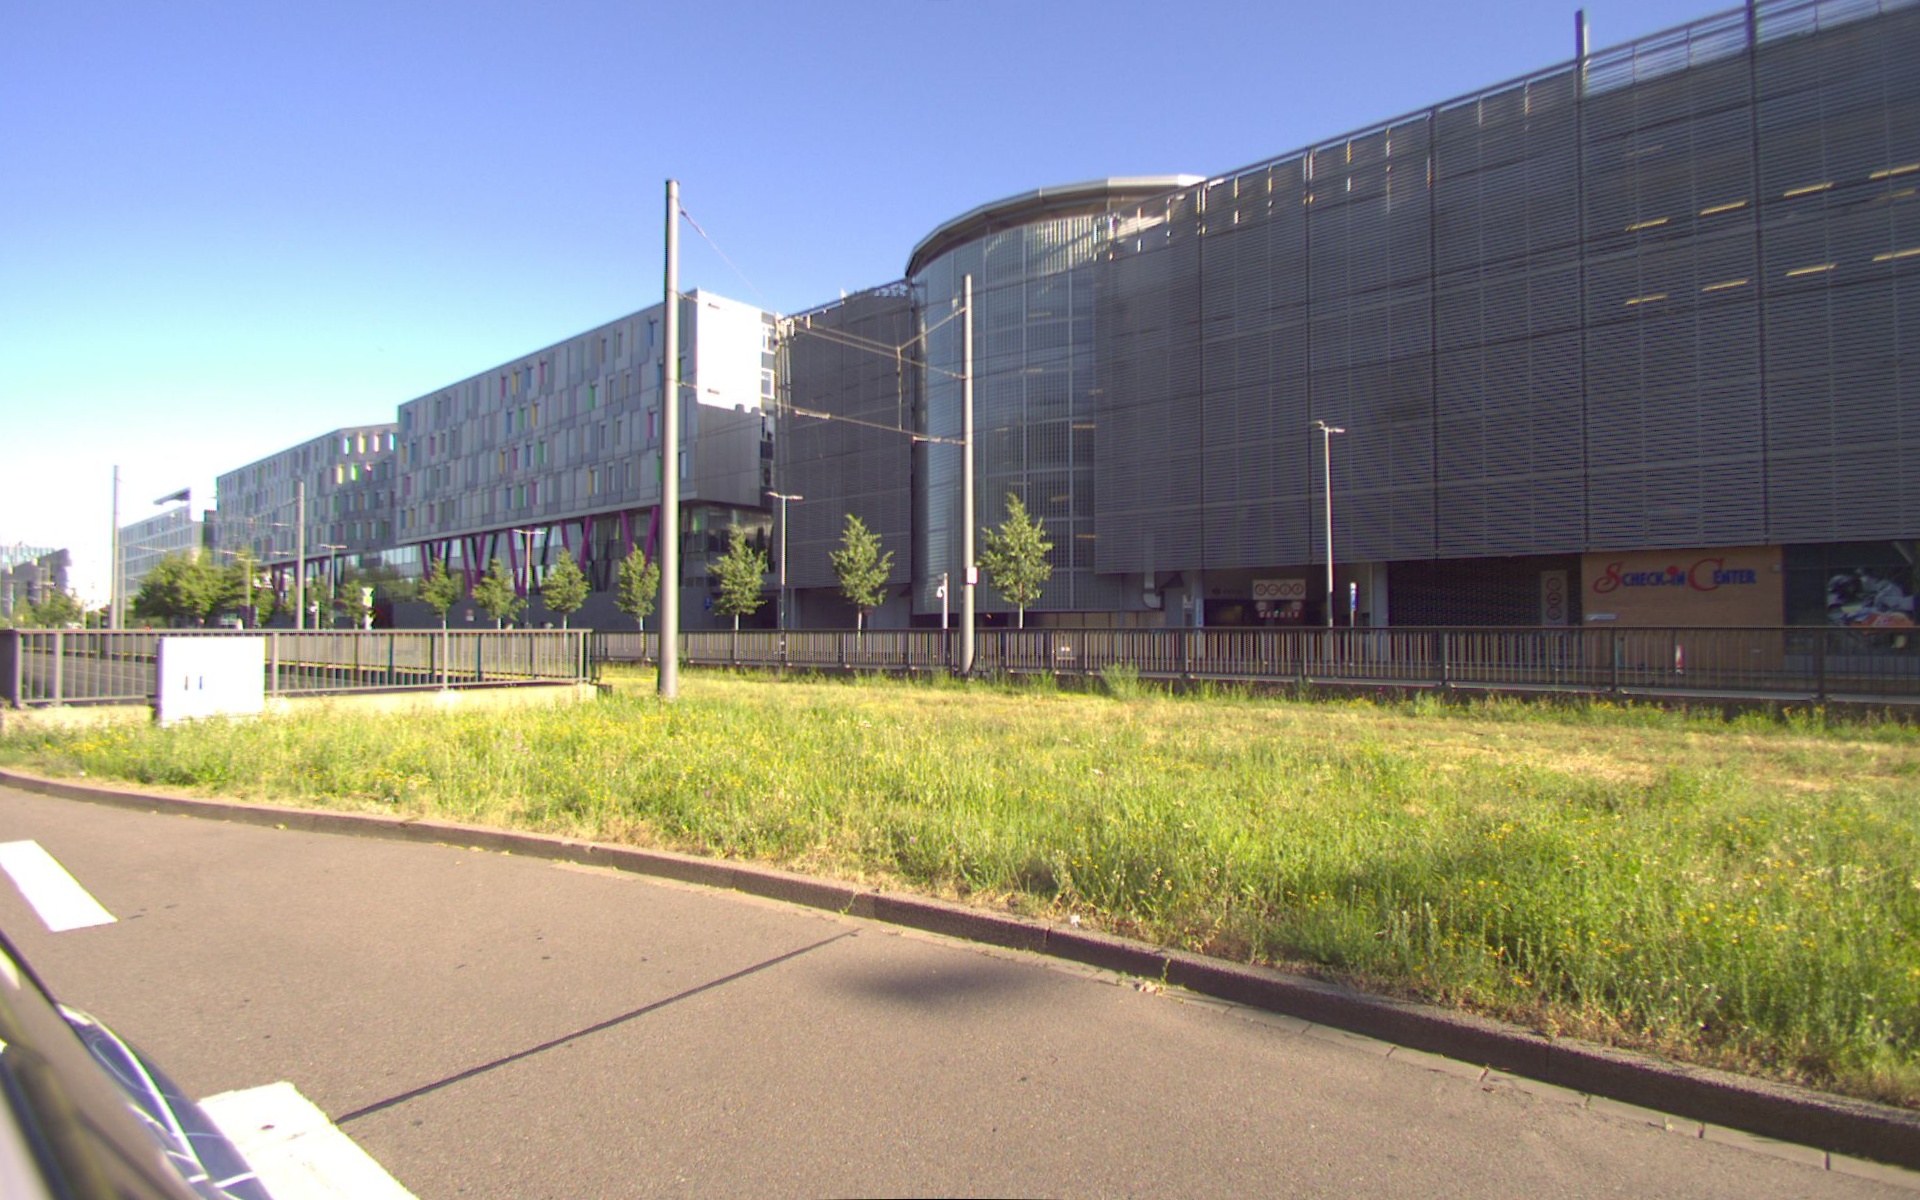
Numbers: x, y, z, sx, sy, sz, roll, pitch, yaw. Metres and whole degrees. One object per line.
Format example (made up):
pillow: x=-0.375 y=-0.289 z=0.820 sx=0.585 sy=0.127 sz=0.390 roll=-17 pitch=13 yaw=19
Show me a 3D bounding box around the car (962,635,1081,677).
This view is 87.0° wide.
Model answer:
car: x=2.301 y=2.095 z=38.697 sx=4.242 sy=1.512 sz=1.972 roll=-2 pitch=-2 yaw=42
